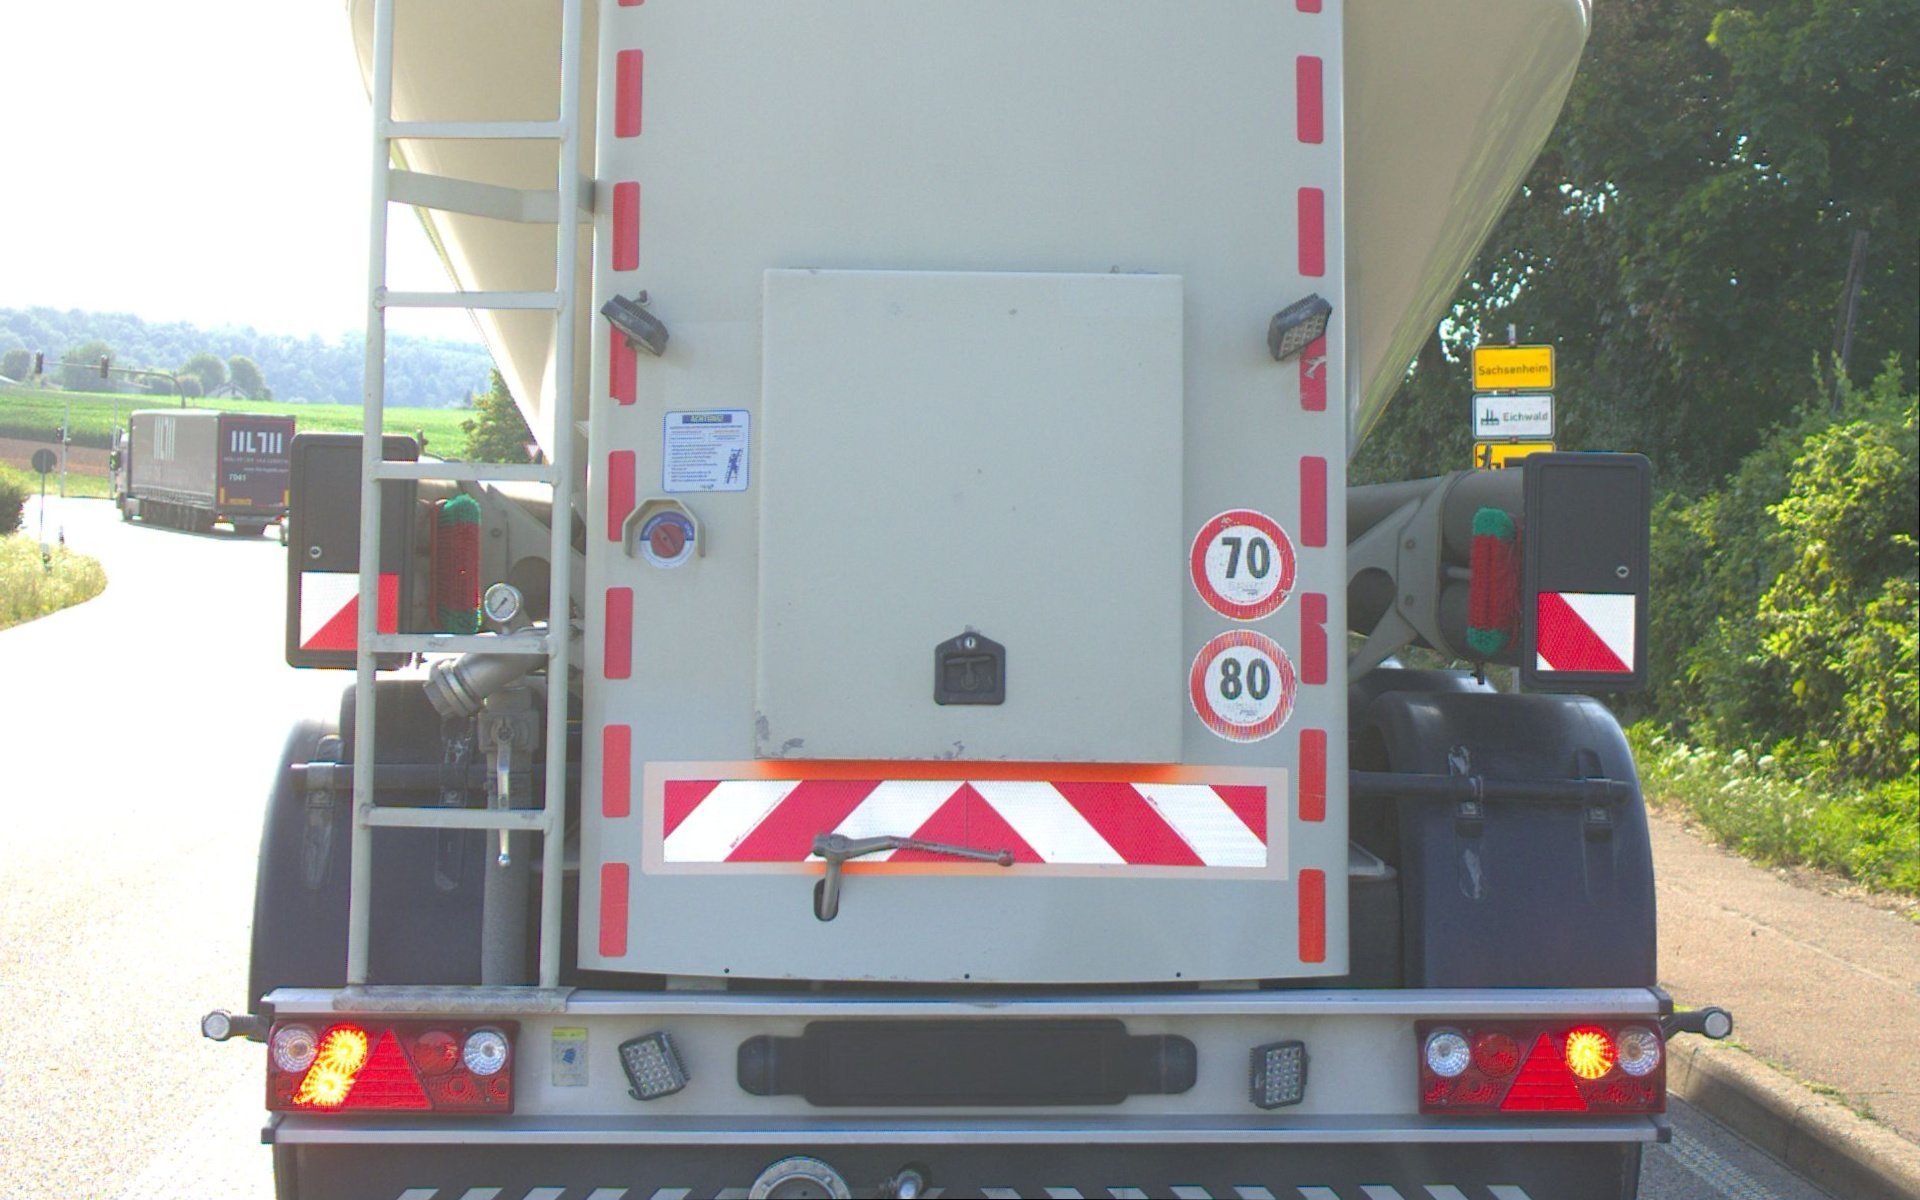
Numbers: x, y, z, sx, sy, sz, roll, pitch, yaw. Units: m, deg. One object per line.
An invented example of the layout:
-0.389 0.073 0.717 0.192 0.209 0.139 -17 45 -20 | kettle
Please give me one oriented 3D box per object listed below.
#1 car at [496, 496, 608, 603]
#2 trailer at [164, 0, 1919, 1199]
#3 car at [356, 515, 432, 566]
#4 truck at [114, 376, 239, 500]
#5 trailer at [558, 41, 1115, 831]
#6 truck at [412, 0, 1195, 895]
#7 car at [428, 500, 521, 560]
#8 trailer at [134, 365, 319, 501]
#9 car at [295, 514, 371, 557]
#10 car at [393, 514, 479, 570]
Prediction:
-8.000 -1.006 67.178 1.861 2.007 3.720 1 1 -11 | car
-0.317 -0.837 10.535 2.909 3.992 9.932 1 1 -6 | trailer
-15.786 -1.669 95.803 1.580 1.336 3.427 2 1 -18 | car
-29.050 -5.949 127.326 3.375 4.335 5.707 2 1 -24 | truck
-0.744 -1.054 26.254 2.955 4.300 14.176 2 1 0 | trailer
-0.786 -0.924 14.961 2.909 3.992 4.061 1 1 -6 | truck
-11.532 -1.669 81.459 1.580 1.336 3.427 2 1 -18 | car
-25.651 -5.715 119.524 3.375 4.335 14.297 2 1 -24 | trailer
-18.625 -1.930 102.077 1.769 1.201 3.427 -1 2 -18 | car
-13.367 -1.495 87.607 1.580 1.336 3.427 2 1 -18 | car
